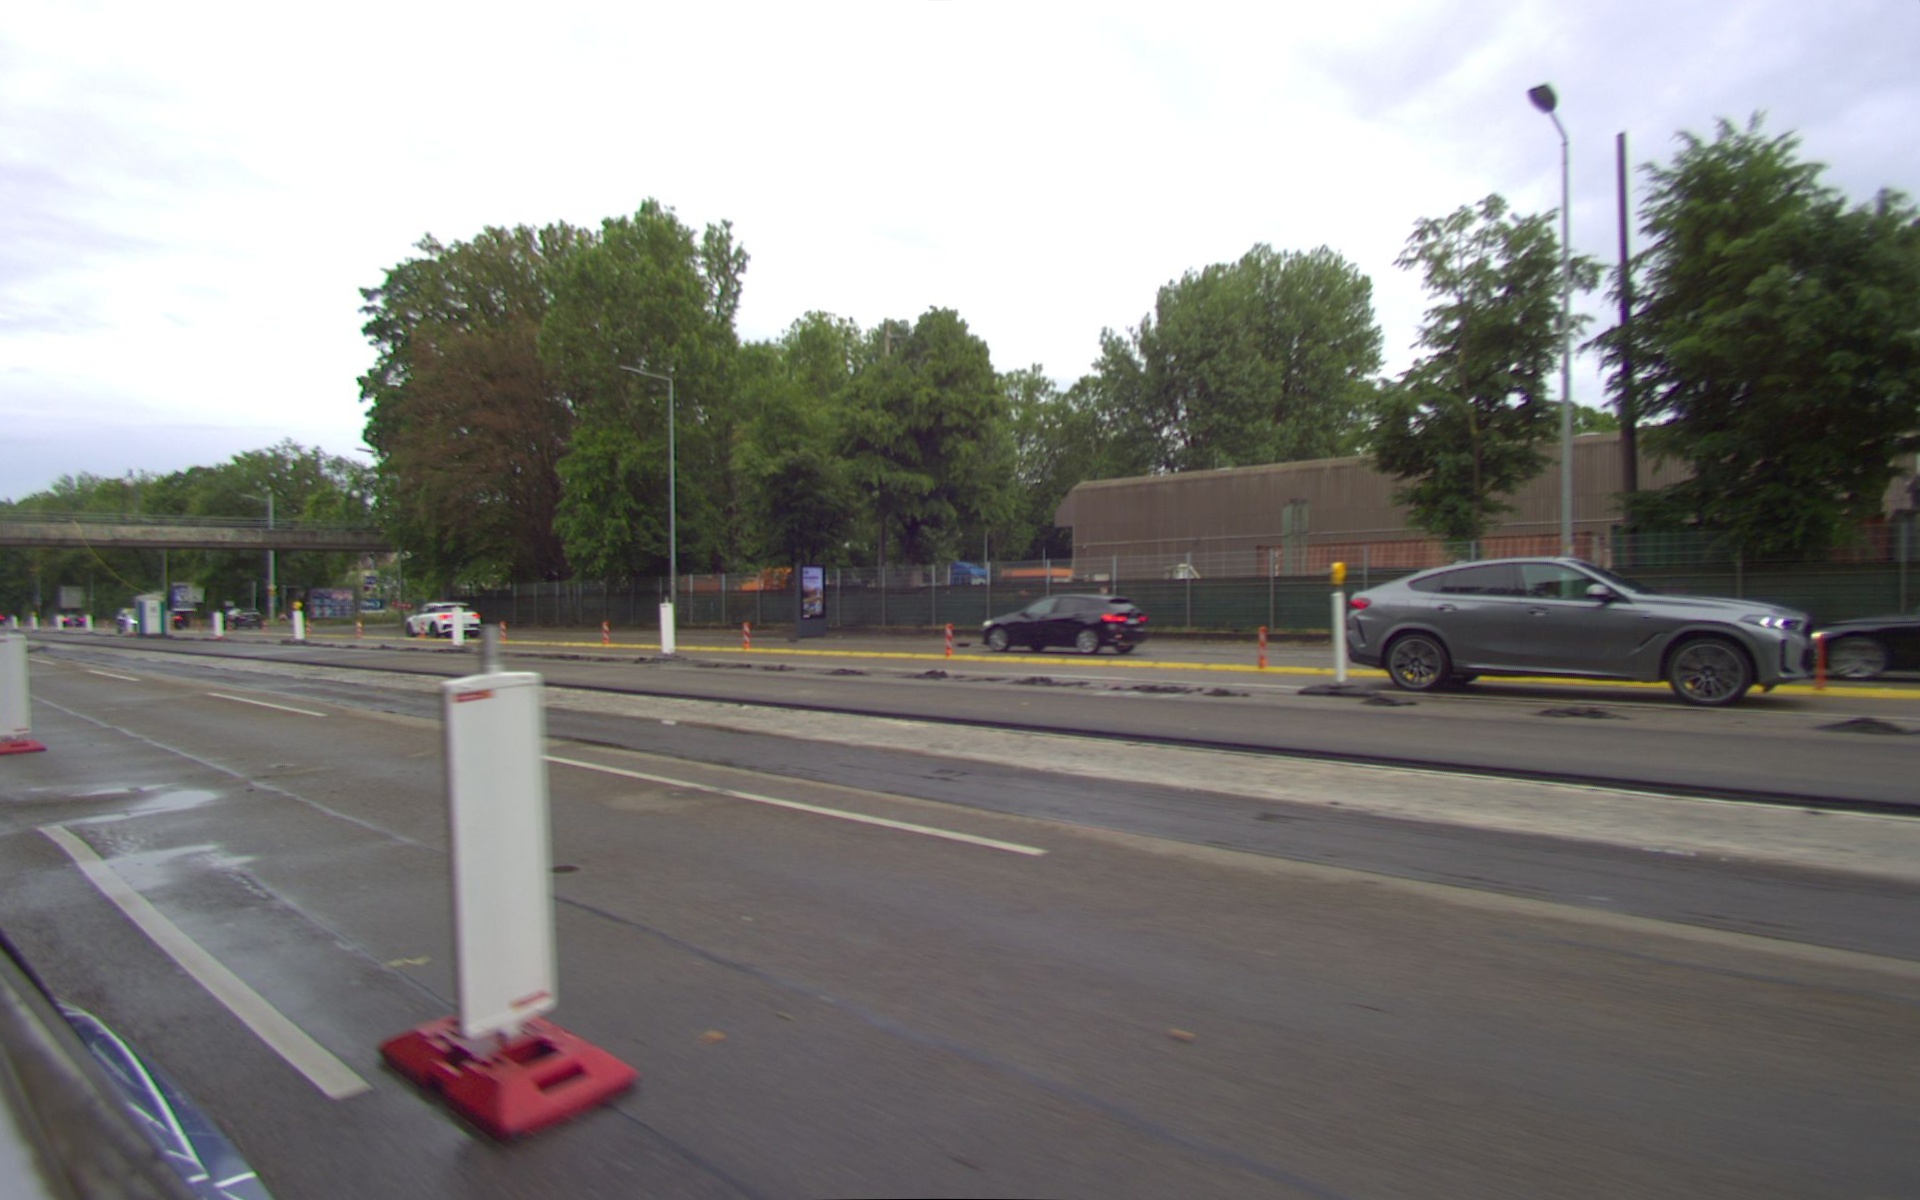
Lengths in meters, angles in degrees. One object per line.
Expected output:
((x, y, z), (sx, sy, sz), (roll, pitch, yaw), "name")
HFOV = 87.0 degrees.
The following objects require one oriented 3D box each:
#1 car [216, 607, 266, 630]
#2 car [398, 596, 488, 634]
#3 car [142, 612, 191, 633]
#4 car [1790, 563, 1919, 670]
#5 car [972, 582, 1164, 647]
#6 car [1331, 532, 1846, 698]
((-51.875, 1.306, 72.994), (4.303, 1.529, 1.973), (0, 2, 41), "car")
((-22.010, 0.616, 43.034), (4.264, 1.524, 1.973), (0, 1, 42), "car")
((-60.050, 1.673, 76.578), (5.087, 1.524, 2.056), (-1, 1, 42), "car")
((14.534, 0.209, 13.933), (4.763, 1.465, 2.025), (0, 2, 42), "car")
((2.562, 0.317, 24.579), (4.262, 1.440, 1.973), (0, 1, 40), "car")
((7.422, 0.108, 12.355), (5.053, 1.625, 2.055), (0, 1, 41), "car")
